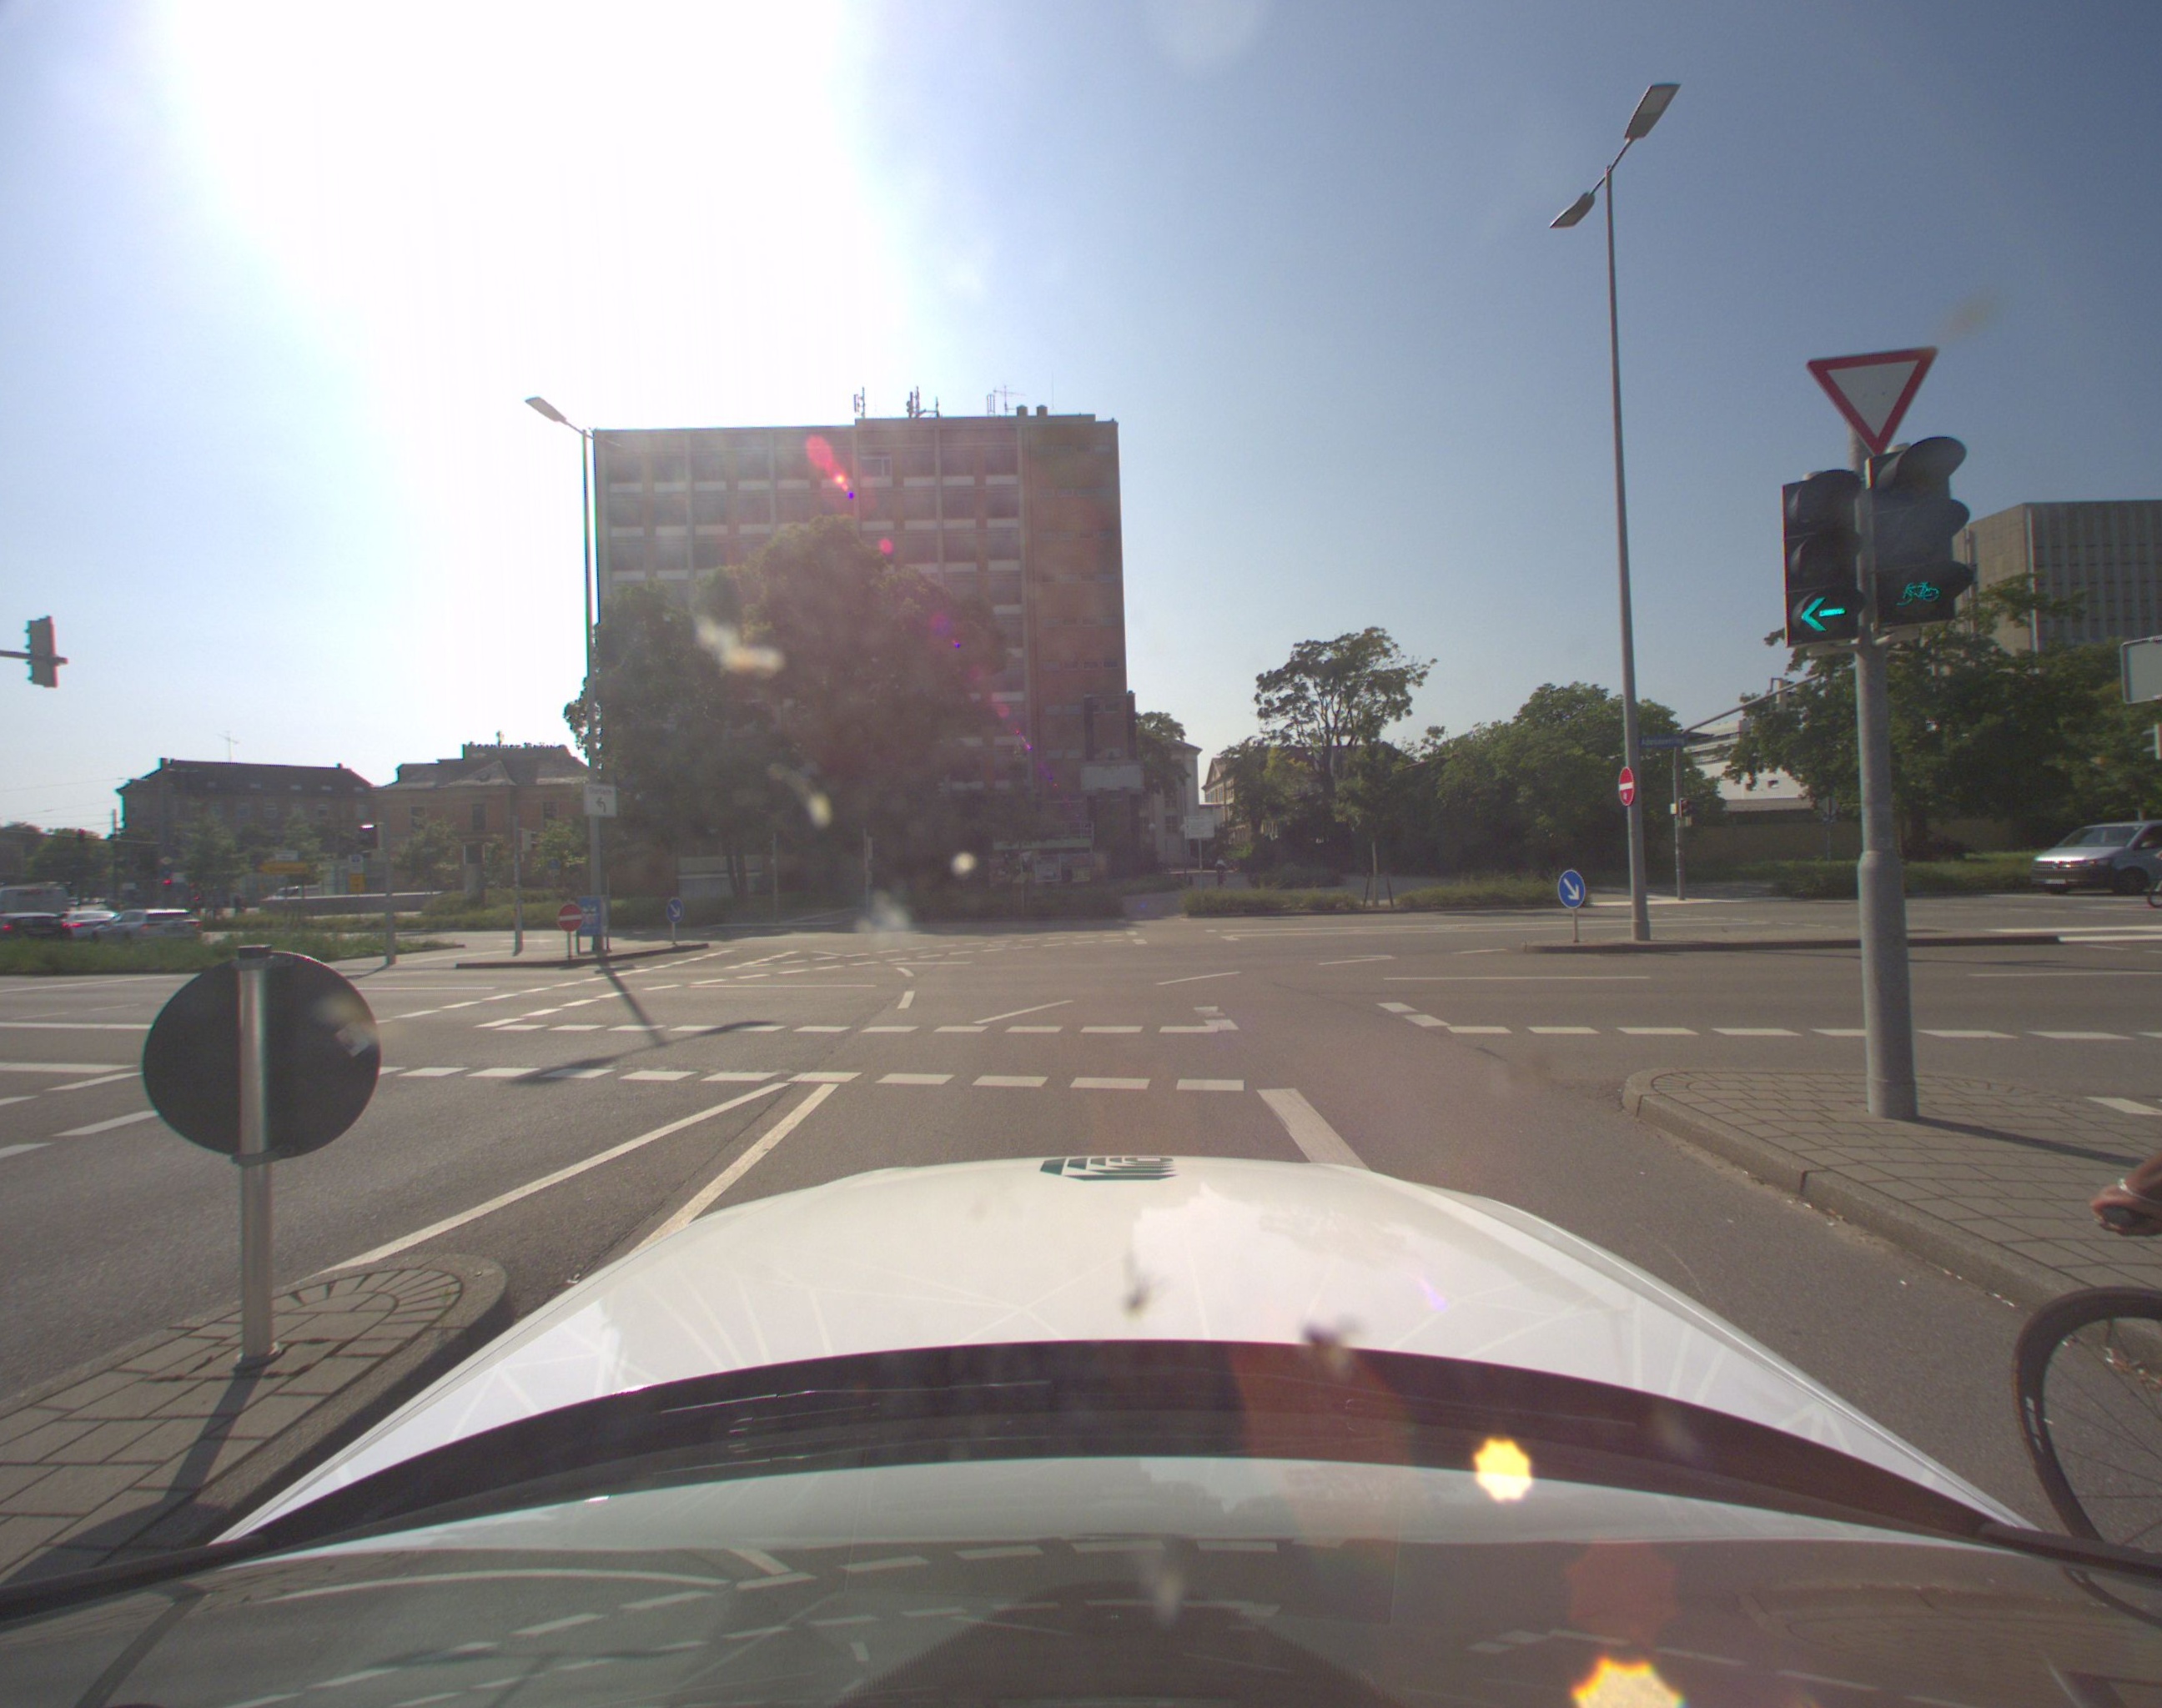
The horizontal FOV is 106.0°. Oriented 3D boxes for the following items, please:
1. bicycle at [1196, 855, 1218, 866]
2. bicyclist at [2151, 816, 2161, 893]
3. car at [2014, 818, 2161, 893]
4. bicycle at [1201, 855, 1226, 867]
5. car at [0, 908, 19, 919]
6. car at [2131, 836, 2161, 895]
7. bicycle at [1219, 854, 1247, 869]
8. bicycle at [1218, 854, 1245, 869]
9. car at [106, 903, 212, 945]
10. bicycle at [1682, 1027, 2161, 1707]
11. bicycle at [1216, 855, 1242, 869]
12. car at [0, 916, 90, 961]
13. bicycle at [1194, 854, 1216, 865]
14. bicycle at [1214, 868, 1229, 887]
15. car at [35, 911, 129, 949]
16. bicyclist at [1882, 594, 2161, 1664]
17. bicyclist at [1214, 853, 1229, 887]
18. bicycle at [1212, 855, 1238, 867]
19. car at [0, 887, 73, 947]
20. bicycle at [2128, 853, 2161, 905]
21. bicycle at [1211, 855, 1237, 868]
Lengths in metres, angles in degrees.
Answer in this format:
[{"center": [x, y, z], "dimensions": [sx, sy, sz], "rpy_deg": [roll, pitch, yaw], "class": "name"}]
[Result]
[{"center": [14.144, 0.718, 91.301], "dimensions": [2.416, 1.262, 0.721], "rpy_deg": [0, -1, 4], "class": "bicycle"}, {"center": [23.183, -0.004, 16.909], "dimensions": [0.869, 1.635, 0.750], "rpy_deg": [-2, -1, 4], "class": "bicyclist"}, {"center": [28.620, -0.024, 21.711], "dimensions": [4.931, 1.875, 1.850], "rpy_deg": [-2, 0, 6], "class": "car"}, {"center": [13.728, 0.714, 84.454], "dimensions": [2.416, 1.282, 0.721], "rpy_deg": [0, -1, 4], "class": "bicycle"}, {"center": [-161.556, 8.916, 122.119], "dimensions": [2.011, 1.442, 3.952], "rpy_deg": [-2, -1, -41], "class": "car"}, {"center": [28.192, 0.168, 18.826], "dimensions": [4.878, 1.401, 1.915], "rpy_deg": [-2, -1, 6], "class": "car"}, {"center": [13.607, 0.712, 72.930], "dimensions": [2.416, 1.318, 0.721], "rpy_deg": [0, -1, 4], "class": "bicycle"}, {"center": [13.683, 0.704, 74.066], "dimensions": [2.416, 1.318, 0.721], "rpy_deg": [0, -1, 4], "class": "bicycle"}, {"center": [-35.070, 2.653, 30.987], "dimensions": [3.589, 1.387, 1.700], "rpy_deg": [-3, -2, 25], "class": "car"}, {"center": [1.997, 0.956, 1.070], "dimensions": [0.769, 0.976, 2.149], "rpy_deg": [-2, 0, -1], "class": "bicycle"}, {"center": [13.909, 0.743, 76.602], "dimensions": [2.416, 1.223, 0.721], "rpy_deg": [0, -1, 4], "class": "bicycle"}, {"center": [-36.820, 2.945, 28.418], "dimensions": [3.916, 1.368, 1.716], "rpy_deg": [-3, -1, 21], "class": "car"}, {"center": [14.049, 0.646, 92.325], "dimensions": [2.416, 1.280, 0.721], "rpy_deg": [0, -1, 4], "class": "bicycle"}, {"center": [6.943, 1.139, 40.242], "dimensions": [0.669, 0.879, 1.404], "rpy_deg": [-2, 0, 8], "class": "bicycle"}, {"center": [-41.012, 3.116, 33.432], "dimensions": [3.893, 1.403, 1.502], "rpy_deg": [-3, -2, 25], "class": "car"}, {"center": [1.964, 0.401, 1.076], "dimensions": [0.770, 1.578, 0.990], "rpy_deg": [-2, -1, -1], "class": "bicyclist"}, {"center": [6.945, 0.782, 40.346], "dimensions": [0.646, 1.601, 0.922], "rpy_deg": [-2, -1, 8], "class": "bicyclist"}, {"center": [14.438, 0.722, 81.702], "dimensions": [2.416, 1.229, 0.721], "rpy_deg": [0, -1, 4], "class": "bicycle"}, {"center": [-48.898, 2.901, 37.477], "dimensions": [4.624, 2.549, 2.209], "rpy_deg": [-3, -2, 27], "class": "car"}, {"center": [23.185, 0.485, 16.903], "dimensions": [1.761, 1.052, 0.771], "rpy_deg": [-3, 0, 4], "class": "bicycle"}, {"center": [14.147, 0.761, 80.666], "dimensions": [2.416, 1.239, 0.721], "rpy_deg": [0, -1, 4], "class": "bicycle"}]
